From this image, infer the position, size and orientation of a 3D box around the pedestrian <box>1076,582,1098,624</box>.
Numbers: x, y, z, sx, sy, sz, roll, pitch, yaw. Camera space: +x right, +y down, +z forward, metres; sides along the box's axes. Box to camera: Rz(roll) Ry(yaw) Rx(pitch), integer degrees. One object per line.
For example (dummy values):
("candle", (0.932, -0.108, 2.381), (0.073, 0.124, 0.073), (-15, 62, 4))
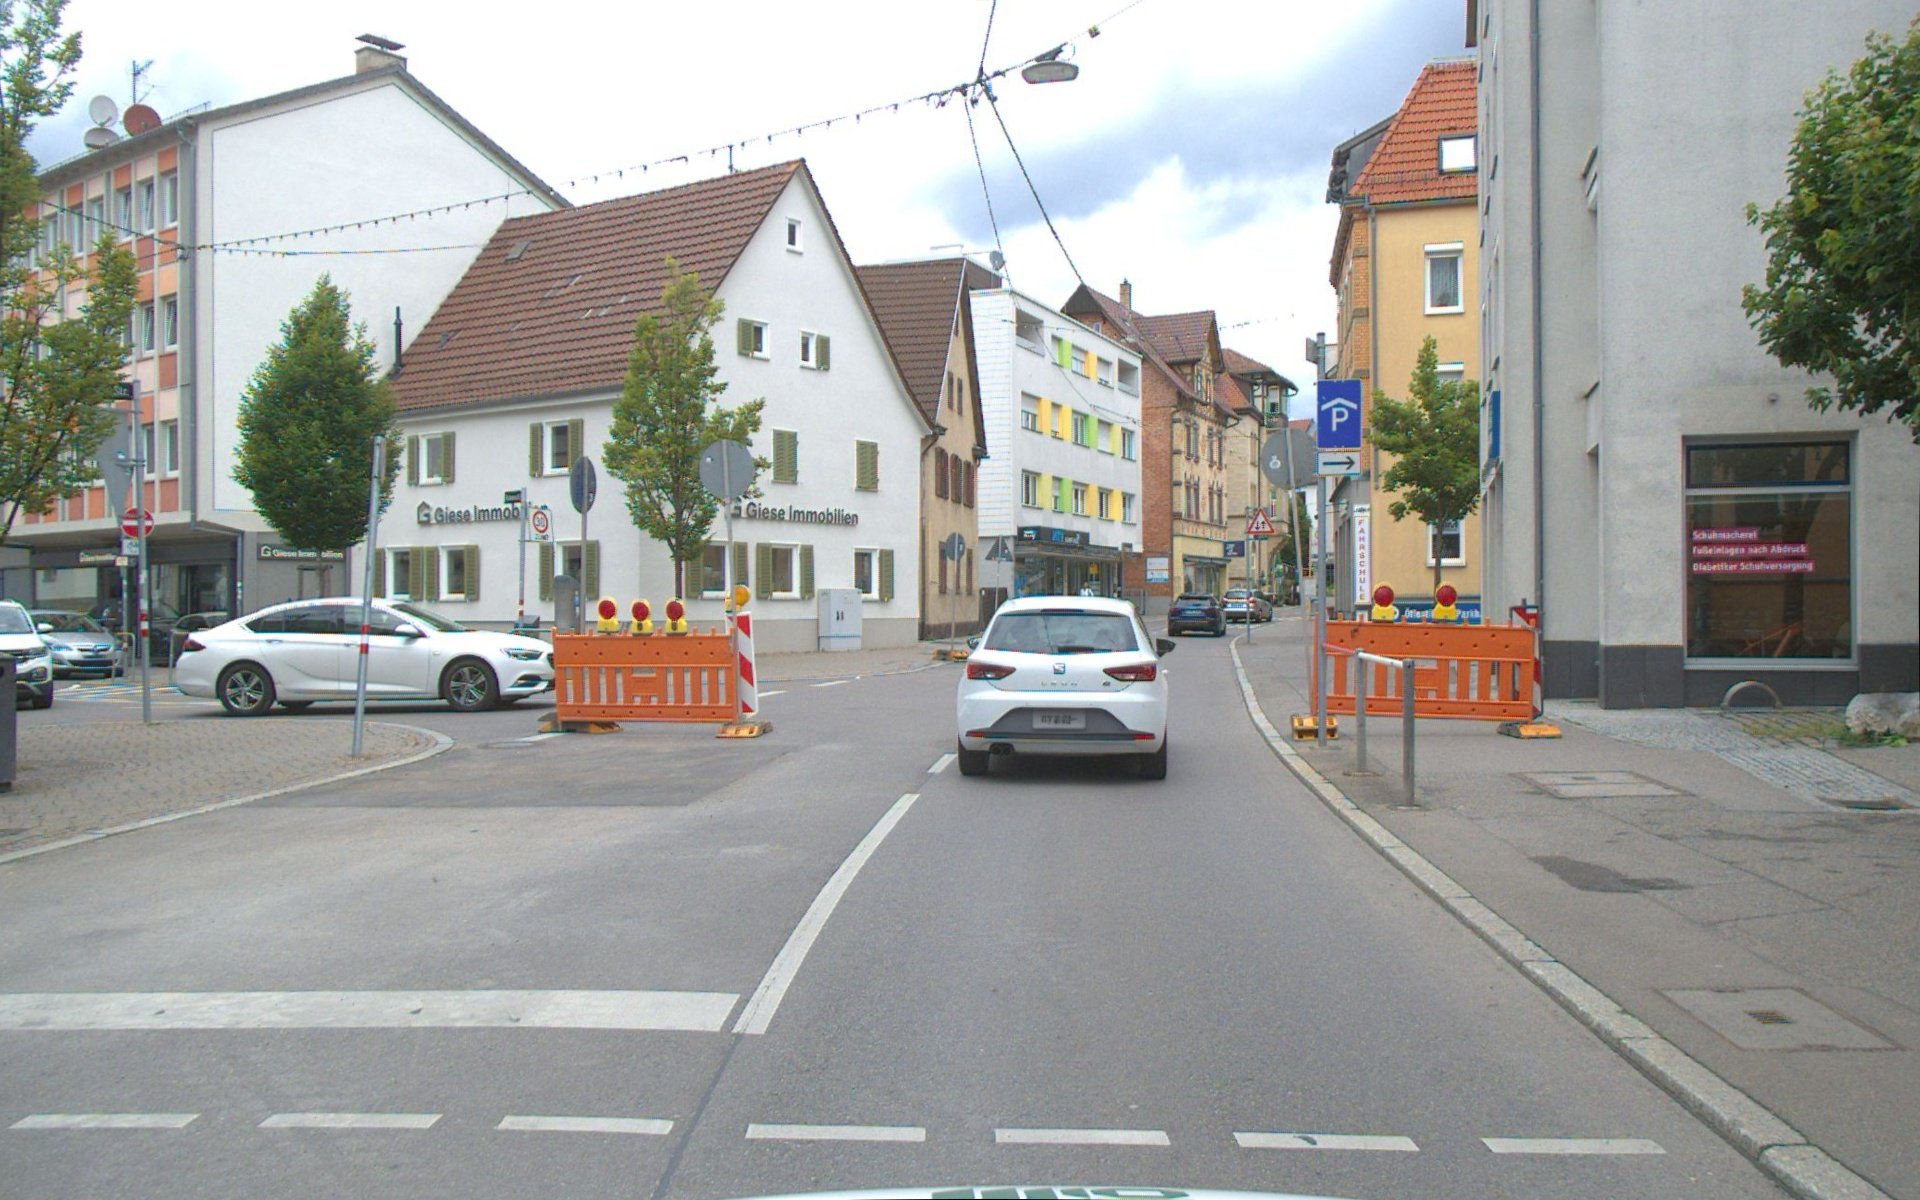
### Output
("pedestrian", (5.267, 0.118, 68.550), (0.873, 1.694, 0.862), (-1, 0, 7))

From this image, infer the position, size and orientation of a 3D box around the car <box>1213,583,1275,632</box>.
("car", (12.305, 0.308, 71.492), (1.952, 2.049, 4.001), (-1, 0, 20))

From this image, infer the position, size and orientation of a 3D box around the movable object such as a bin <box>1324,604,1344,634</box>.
("movable object such as a bin", (11.868, 0.612, 52.510), (0.606, 0.937, 0.582), (-1, 0, 15))

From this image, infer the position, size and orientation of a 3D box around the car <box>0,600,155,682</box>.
("car", (-19.525, 0.830, 35.778), (4.827, 1.584, 2.011), (1, 1, 40))

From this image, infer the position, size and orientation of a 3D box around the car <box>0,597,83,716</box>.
("car", (-14.816, 0.768, 24.505), (2.006, 1.584, 4.839), (0, 1, -44))

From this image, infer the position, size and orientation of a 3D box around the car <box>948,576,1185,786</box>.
("car", (1.041, 0.590, 14.606), (1.773, 1.506, 3.874), (2, 1, 7))

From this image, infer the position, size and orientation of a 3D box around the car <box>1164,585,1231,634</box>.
("car", (7.982, 0.282, 55.343), (1.773, 1.506, 3.874), (-1, 1, 15))

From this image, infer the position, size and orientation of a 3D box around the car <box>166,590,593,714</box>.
("car", (-7.468, 0.642, 21.708), (4.803, 1.502, 2.249), (0, 0, -2))

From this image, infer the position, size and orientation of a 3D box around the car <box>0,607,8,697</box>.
("car", (-19.400, 0.923, 31.390), (1.997, 1.584, 4.861), (0, 1, -34))
